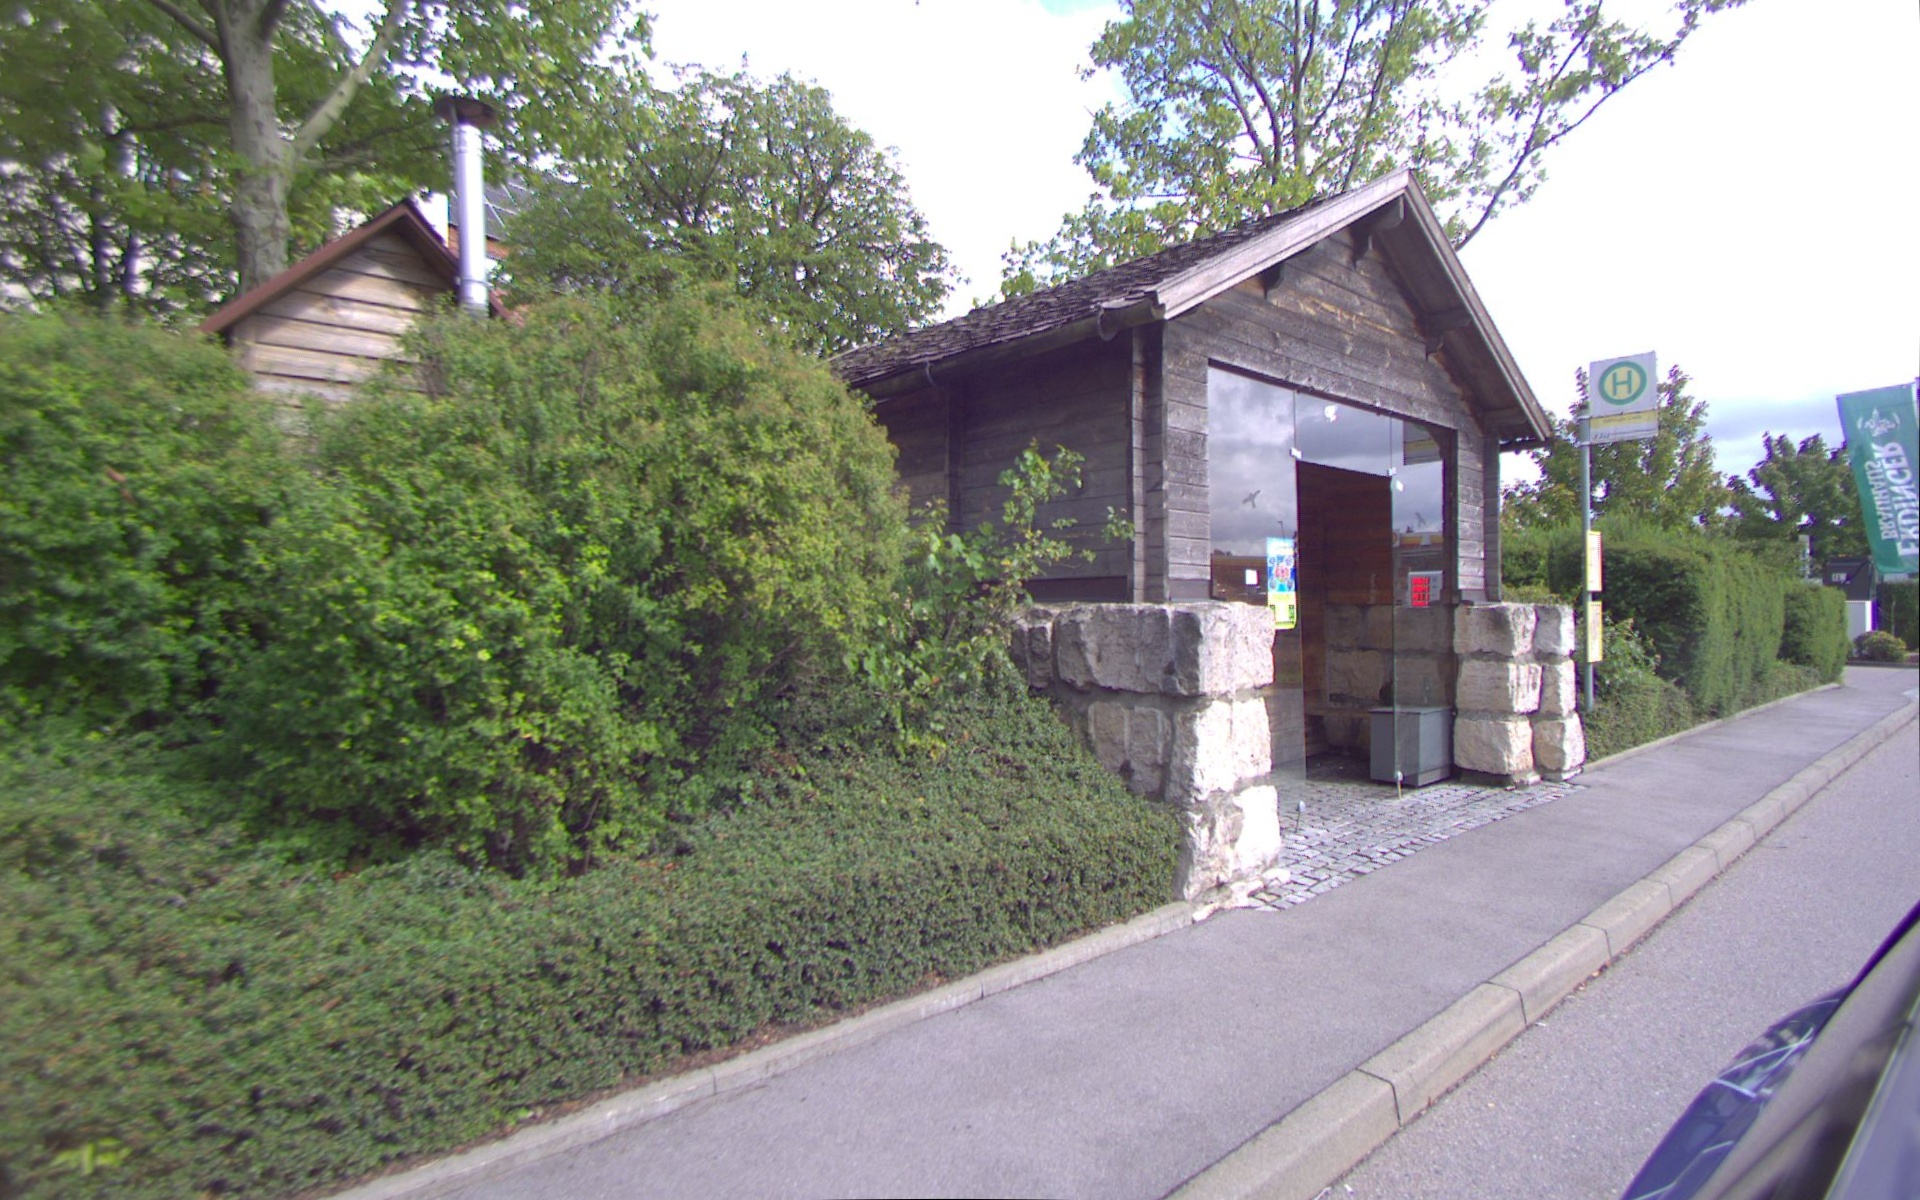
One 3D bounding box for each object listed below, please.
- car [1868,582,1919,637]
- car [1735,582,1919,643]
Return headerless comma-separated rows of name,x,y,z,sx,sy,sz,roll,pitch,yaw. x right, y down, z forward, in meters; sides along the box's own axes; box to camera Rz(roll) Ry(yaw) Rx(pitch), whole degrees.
car,31.662,0.276,31.798,1.624,1.738,4.365,0,-1,-32
car,27.068,0.310,31.197,1.880,1.717,4.685,-1,1,-29
